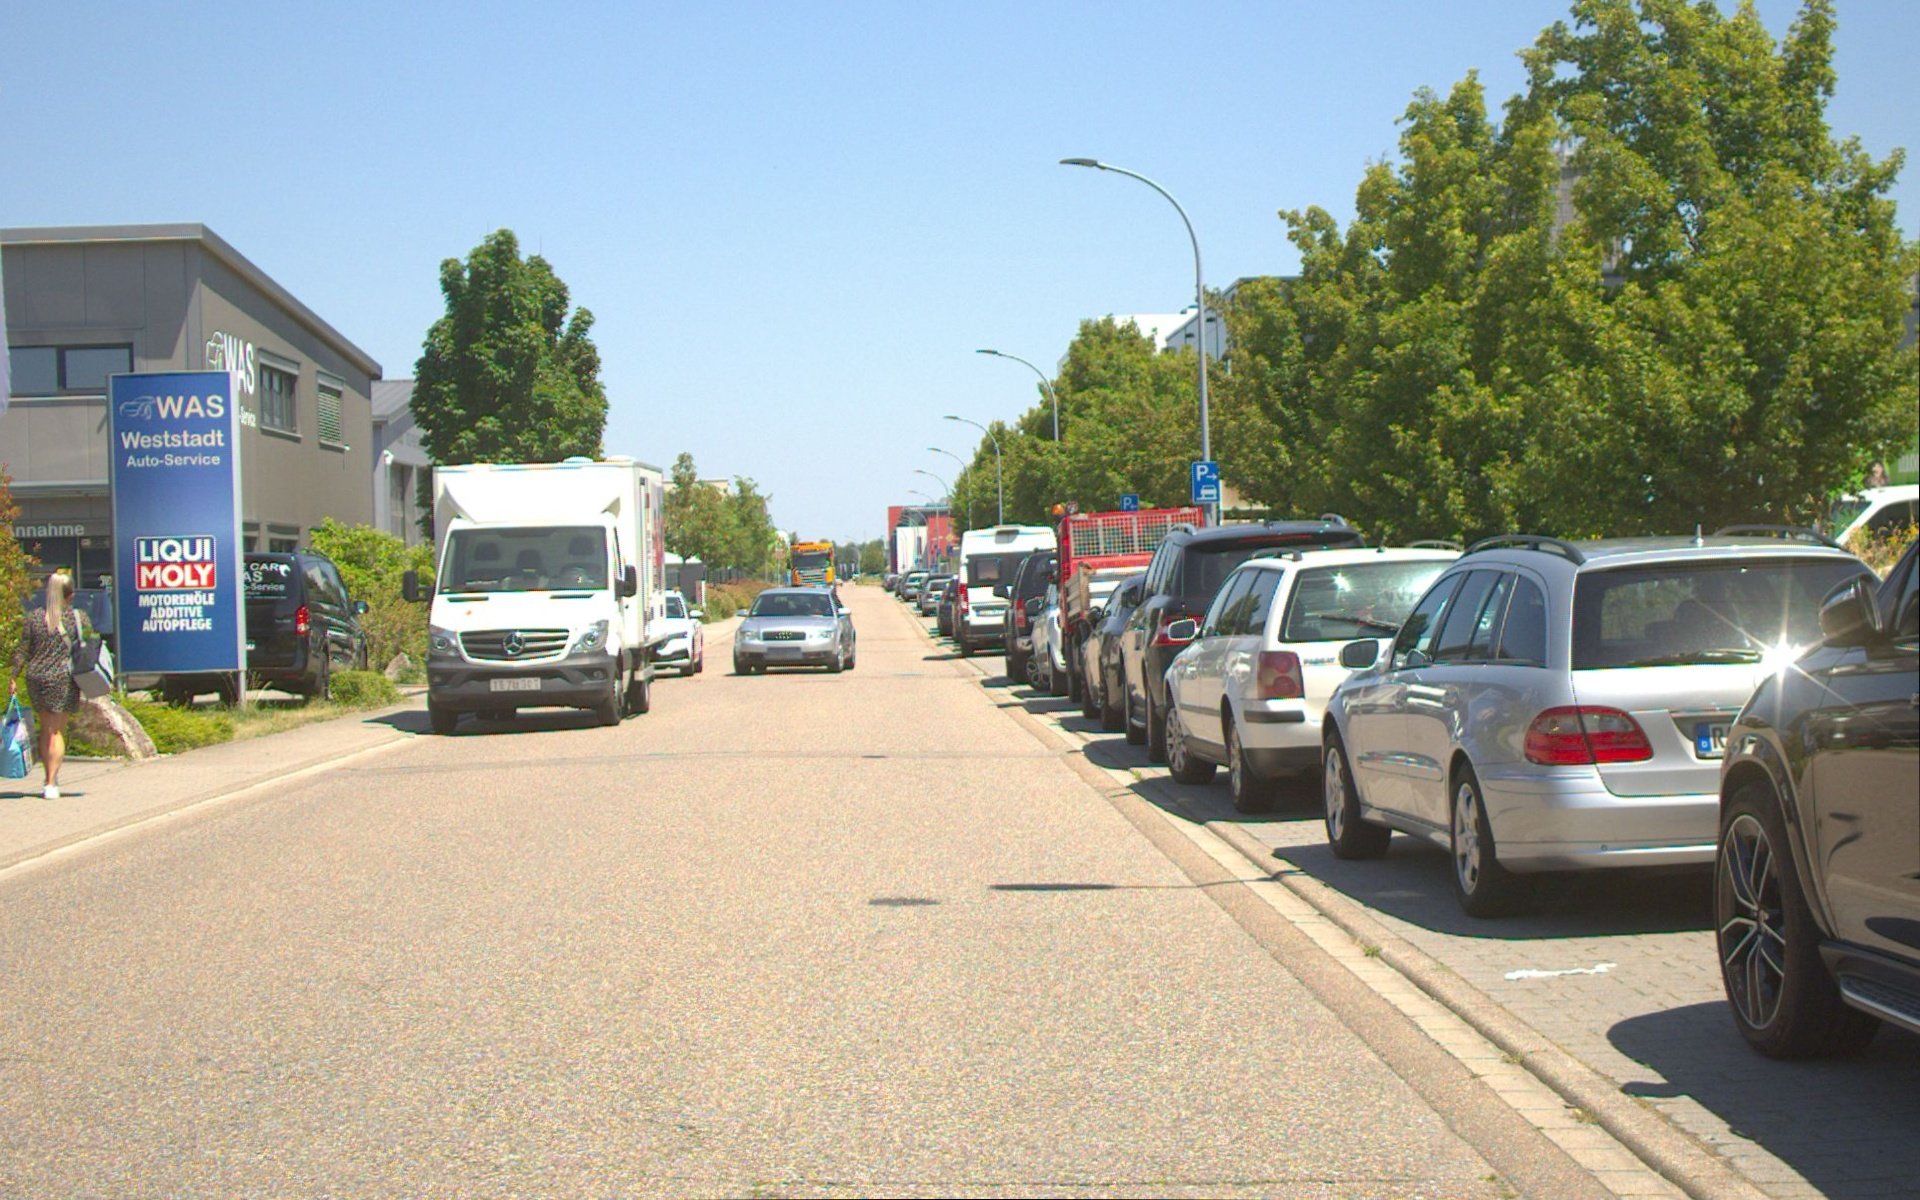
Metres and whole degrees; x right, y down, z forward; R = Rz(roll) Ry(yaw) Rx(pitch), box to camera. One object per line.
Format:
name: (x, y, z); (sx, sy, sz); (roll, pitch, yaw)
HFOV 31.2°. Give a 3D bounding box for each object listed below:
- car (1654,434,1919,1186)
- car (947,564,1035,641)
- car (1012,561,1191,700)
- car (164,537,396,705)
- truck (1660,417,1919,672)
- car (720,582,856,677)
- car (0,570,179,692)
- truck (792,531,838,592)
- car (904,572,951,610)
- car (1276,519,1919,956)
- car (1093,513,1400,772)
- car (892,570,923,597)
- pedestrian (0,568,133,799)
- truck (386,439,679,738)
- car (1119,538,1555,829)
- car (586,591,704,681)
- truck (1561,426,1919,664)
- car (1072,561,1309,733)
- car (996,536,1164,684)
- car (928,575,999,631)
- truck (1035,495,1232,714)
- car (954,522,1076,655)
car: (3.101, 0.427, 7.868); (1.949, 1.695, 4.545); (-3, 1, -1)
car: (0.758, 0.071, 86.610); (1.993, 1.819, 4.354); (-2, 0, -2)
car: (1.690, 0.345, 42.242); (1.738, 1.525, 4.000); (-3, 0, -3)
car: (-8.467, 0.240, 43.258); (1.993, 1.950, 5.218); (-1, 0, -2)
truck: (11.593, -0.702, 40.897); (5.901, 2.862, 2.307); (-2, 0, -4)
car: (-2.846, 0.460, 57.673); (1.783, 1.417, 4.413); (-3, 0, 3)
car: (-11.090, 0.353, 42.445); (1.931, 1.412, 4.769); (0, 0, -2)
truck: (-8.669, -2.319, 206.064); (2.448, 3.501, 8.273); (-3, 1, -2)
car: (-1.296, -0.356, 135.647); (1.718, 1.445, 3.646); (-2, 0, -2)
car: (2.688, 0.463, 14.738); (1.804, 1.478, 4.774); (-3, 1, -4)
car: (2.107, 0.268, 26.541); (1.811, 1.719, 4.774); (-3, 1, -1)
car: (-2.794, -0.876, 182.912); (1.585, 1.405, 3.500); (-2, 1, -2)
pedestrian: (-6.287, 0.567, 23.883); (0.899, 1.569, 0.785); (0, 1, -1)
truck: (-4.543, -0.122, 37.648); (2.361, 2.850, 6.415); (-3, 0, -1)
car: (2.155, 0.426, 20.980); (1.713, 1.478, 4.774); (-3, 1, -4)
car: (-5.372, 0.594, 59.100); (1.730, 1.453, 4.492); (-1, 0, -2)
truck: (11.080, -0.741, 45.103); (5.821, 2.903, 2.415); (-2, 0, -2)
car: (2.059, 0.392, 31.960); (1.698, 1.378, 4.837); (-3, 0, -1)
car: (1.627, 0.126, 48.363); (1.993, 1.878, 5.156); (-3, 0, -1)
car: (0.121, 0.080, 98.948); (1.709, 1.499, 4.705); (-2, 0, 3)
truck: (1.843, 0.040, 37.742); (1.679, 2.174, 4.390); (-3, 0, -2)
car: (1.082, -0.248, 69.571); (2.267, 2.489, 6.152); (-2, 0, 0)
